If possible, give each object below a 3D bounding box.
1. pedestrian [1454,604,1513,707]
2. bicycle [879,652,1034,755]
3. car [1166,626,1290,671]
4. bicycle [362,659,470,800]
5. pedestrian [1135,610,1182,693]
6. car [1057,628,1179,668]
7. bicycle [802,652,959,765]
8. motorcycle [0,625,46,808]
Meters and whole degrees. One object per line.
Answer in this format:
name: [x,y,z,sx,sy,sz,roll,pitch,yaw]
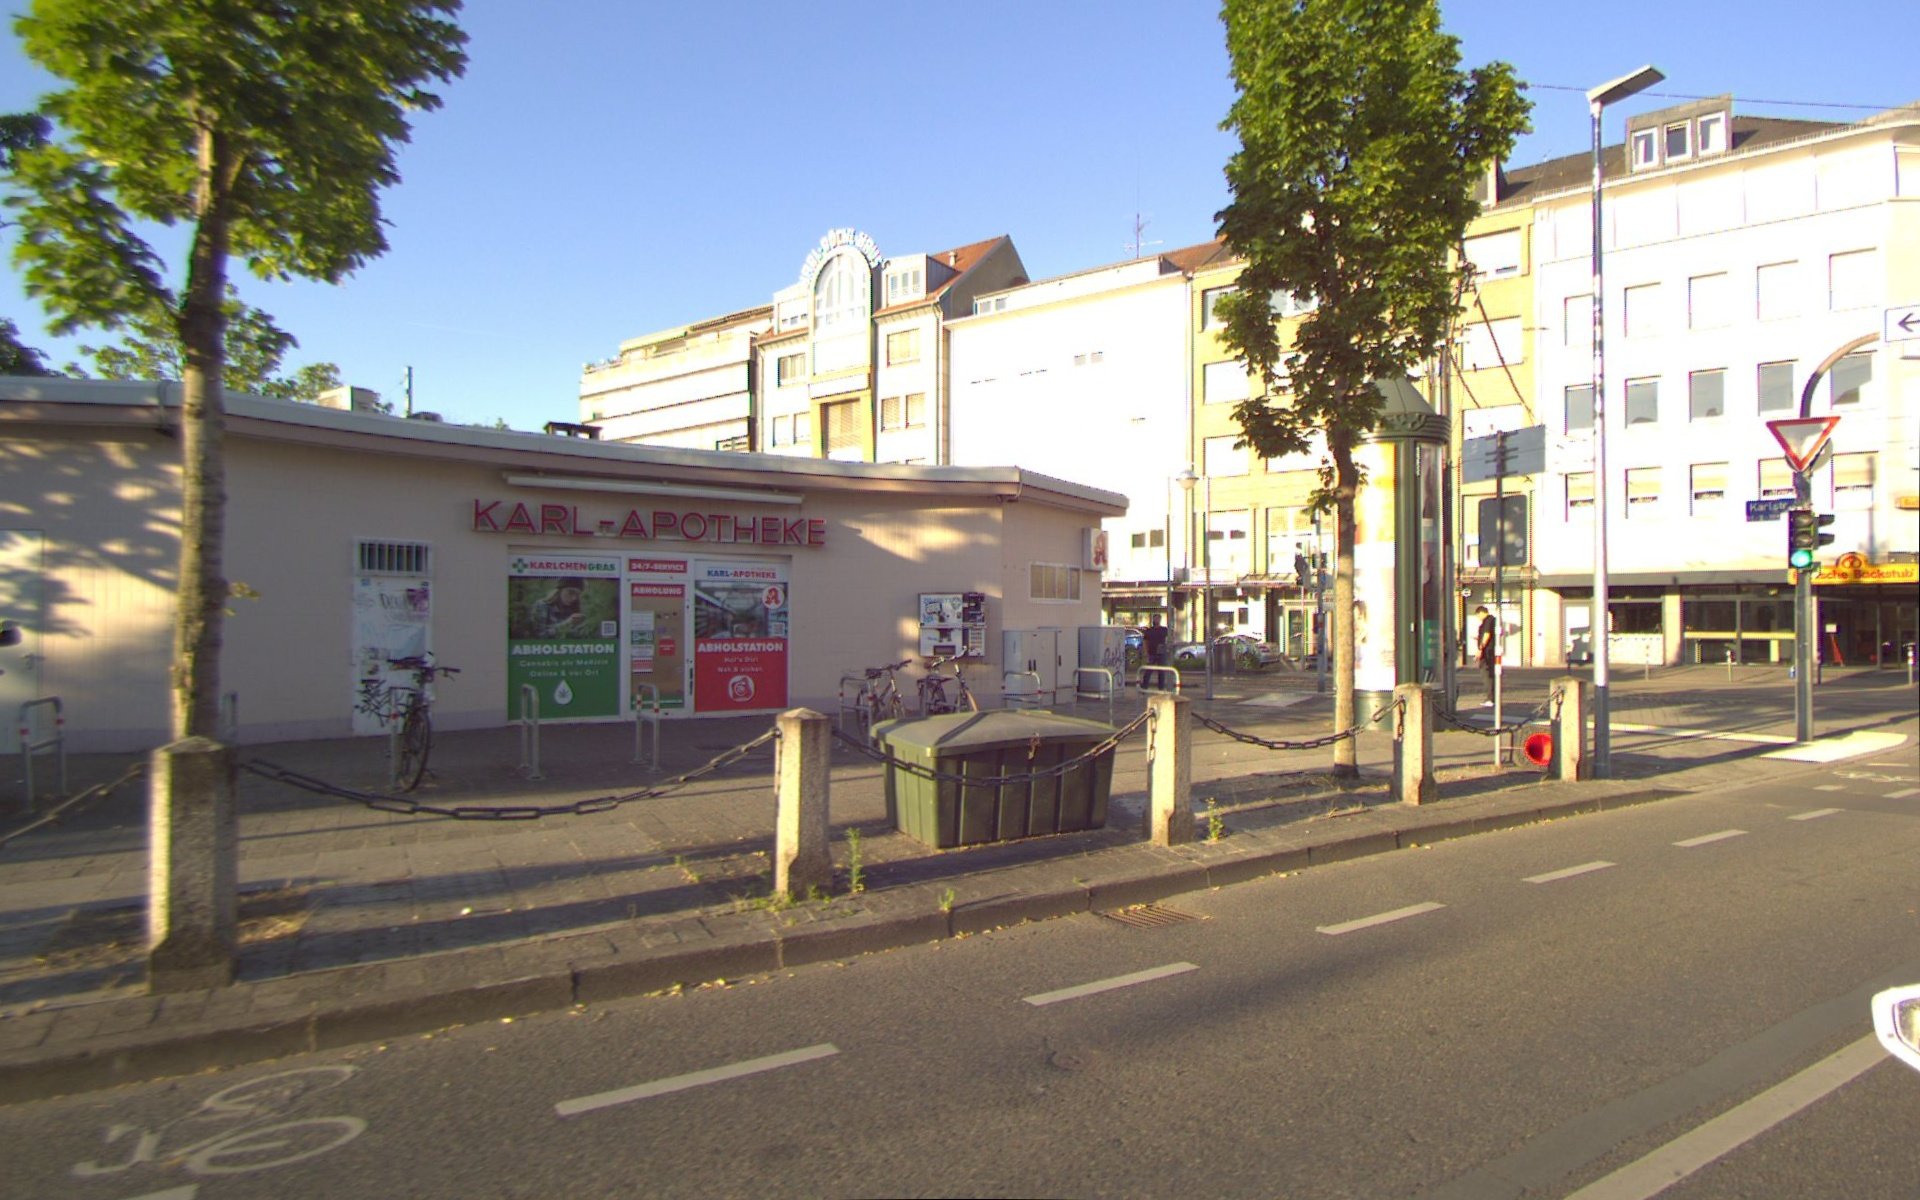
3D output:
pedestrian: [9.566,0.994,18.347,0.890,1.808,0.880,1,0,29]
bicycle: [-0.091,1.221,12.374,0.772,1.102,2.174,2,-2,-37]
car: [10.219,1.806,38.423,4.236,1.596,1.791,-1,-1,40]
bicycle: [-5.051,1.115,9.272,0.770,1.102,2.165,2,-3,-30]
pedestrian: [4.191,1.072,21.203,0.764,1.698,0.906,1,0,24]
car: [6.399,1.913,40.976,4.538,1.495,2.040,-1,-1,39]
bicycle: [-0.975,1.200,11.692,0.772,1.102,2.199,2,-1,-37]
motorcycle: [-7.574,0.905,7.242,0.769,1.384,2.437,0,0,-25]
